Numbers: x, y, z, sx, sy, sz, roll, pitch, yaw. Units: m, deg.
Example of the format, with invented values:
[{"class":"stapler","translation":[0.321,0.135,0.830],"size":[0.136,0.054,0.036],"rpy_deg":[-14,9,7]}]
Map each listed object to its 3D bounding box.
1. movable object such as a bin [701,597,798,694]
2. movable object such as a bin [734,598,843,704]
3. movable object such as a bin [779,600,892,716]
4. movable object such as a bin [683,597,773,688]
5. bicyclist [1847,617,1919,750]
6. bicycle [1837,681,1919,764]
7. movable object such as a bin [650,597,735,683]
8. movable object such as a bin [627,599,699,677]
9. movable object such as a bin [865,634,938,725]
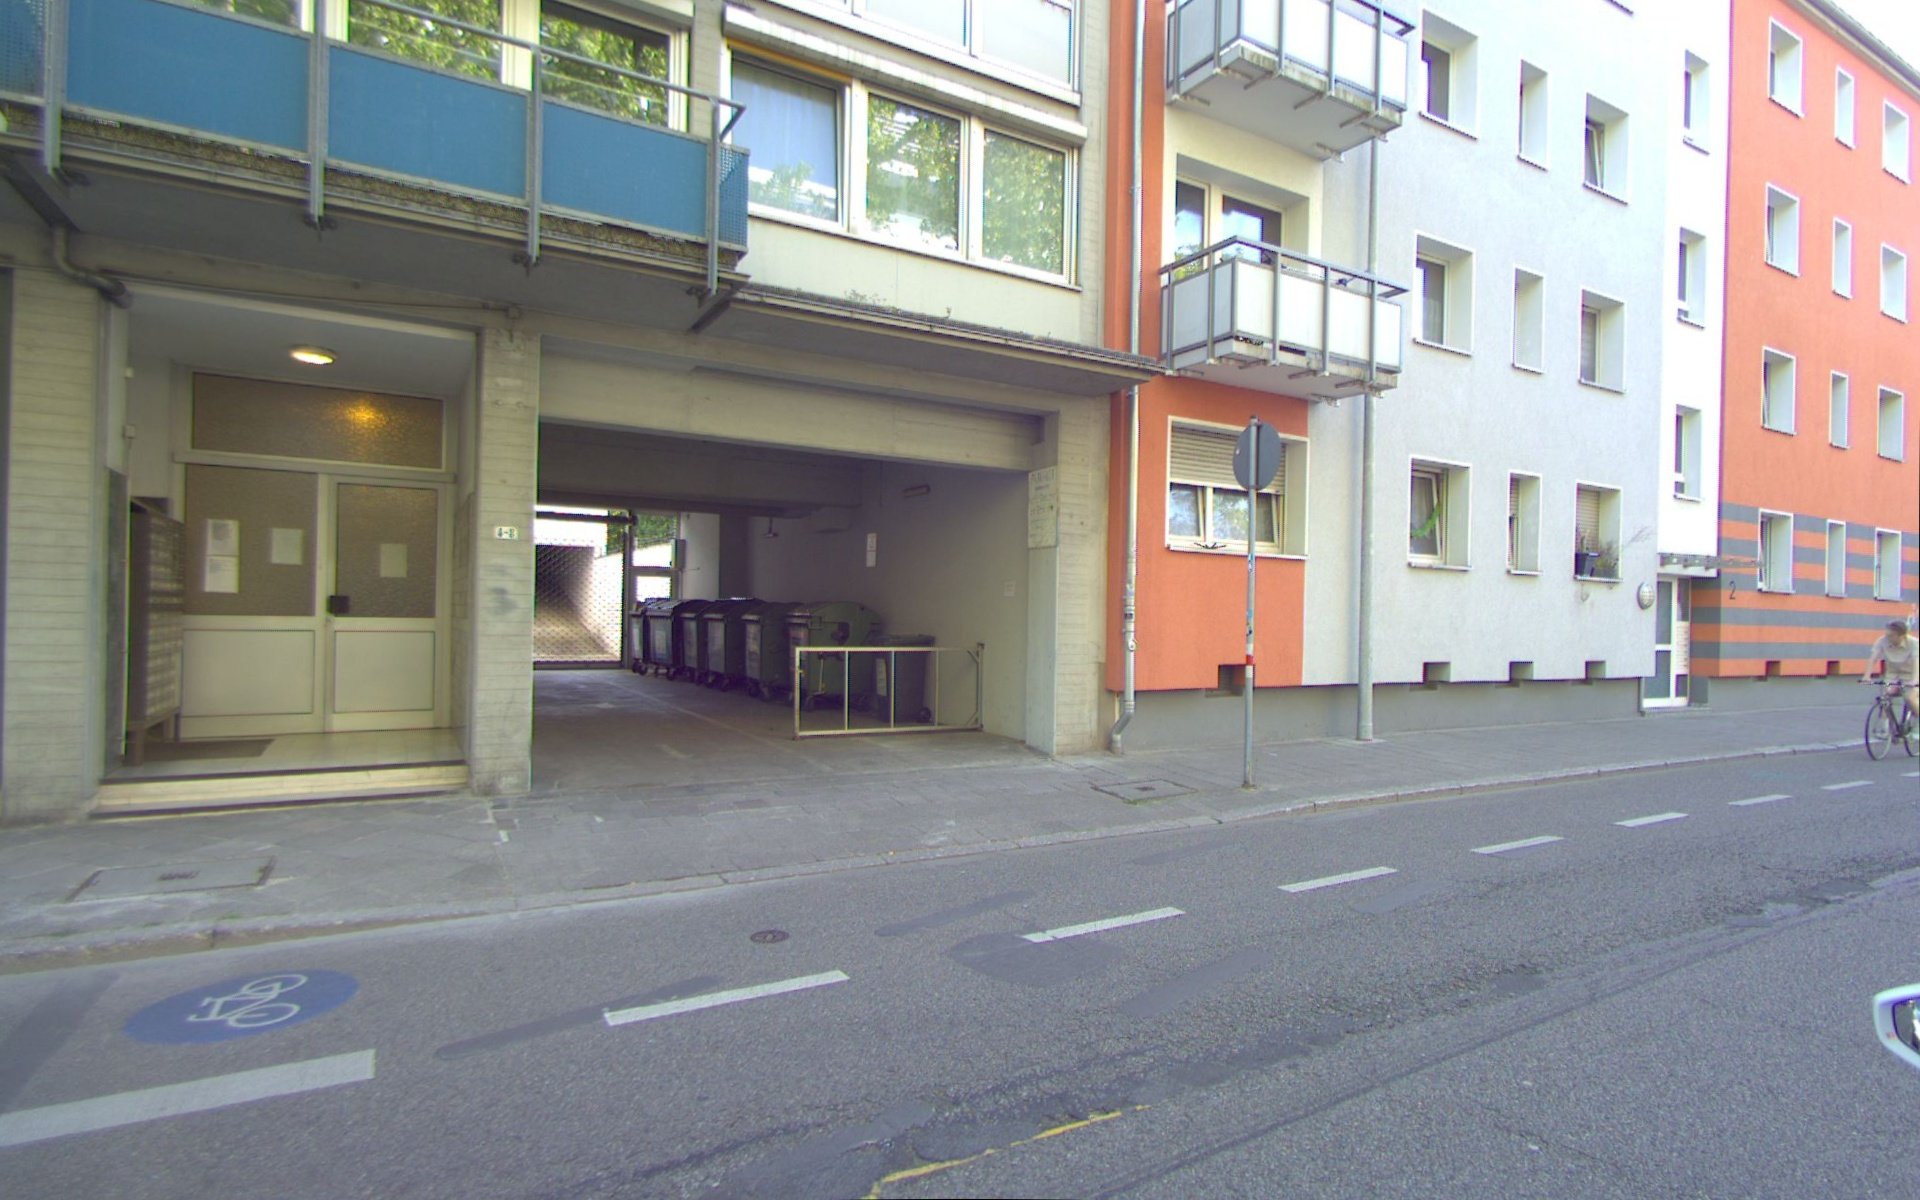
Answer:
[{"class":"movable object such as a bin","translation":[-3.481,0.731,16.580],"size":[1.264,1.506,1.155],"rpy_deg":[2,0,-28]},{"class":"movable object such as a bin","translation":[-2.584,0.739,15.044],"size":[1.264,1.493,1.265],"rpy_deg":[2,-1,-28]},{"class":"movable object such as a bin","translation":[-1.718,0.759,13.690],"size":[1.128,1.484,1.255],"rpy_deg":[2,0,-28]},{"class":"movable object such as a bin","translation":[-4.084,0.733,17.628],"size":[1.264,1.514,1.155],"rpy_deg":[2,0,-28]},{"class":"bicyclist","translation":[11.639,1.014,12.507],"size":[0.797,1.579,0.645],"rpy_deg":[2,0,-31]},{"class":"bicycle","translation":[11.632,1.489,12.475],"size":[1.846,0.903,0.545],"rpy_deg":[2,0,-31]},{"class":"movable object such as a bin","translation":[-4.949,0.725,18.571],"size":[1.264,1.506,1.155],"rpy_deg":[2,0,-28]},{"class":"movable object such as a bin","translation":[-5.869,0.736,19.826],"size":[1.128,1.484,1.129],"rpy_deg":[2,0,-28]},{"class":"movable object such as a bin","translation":[-0.719,0.964,12.338],"size":[0.694,1.061,0.567],"rpy_deg":[2,0,-28]}]
